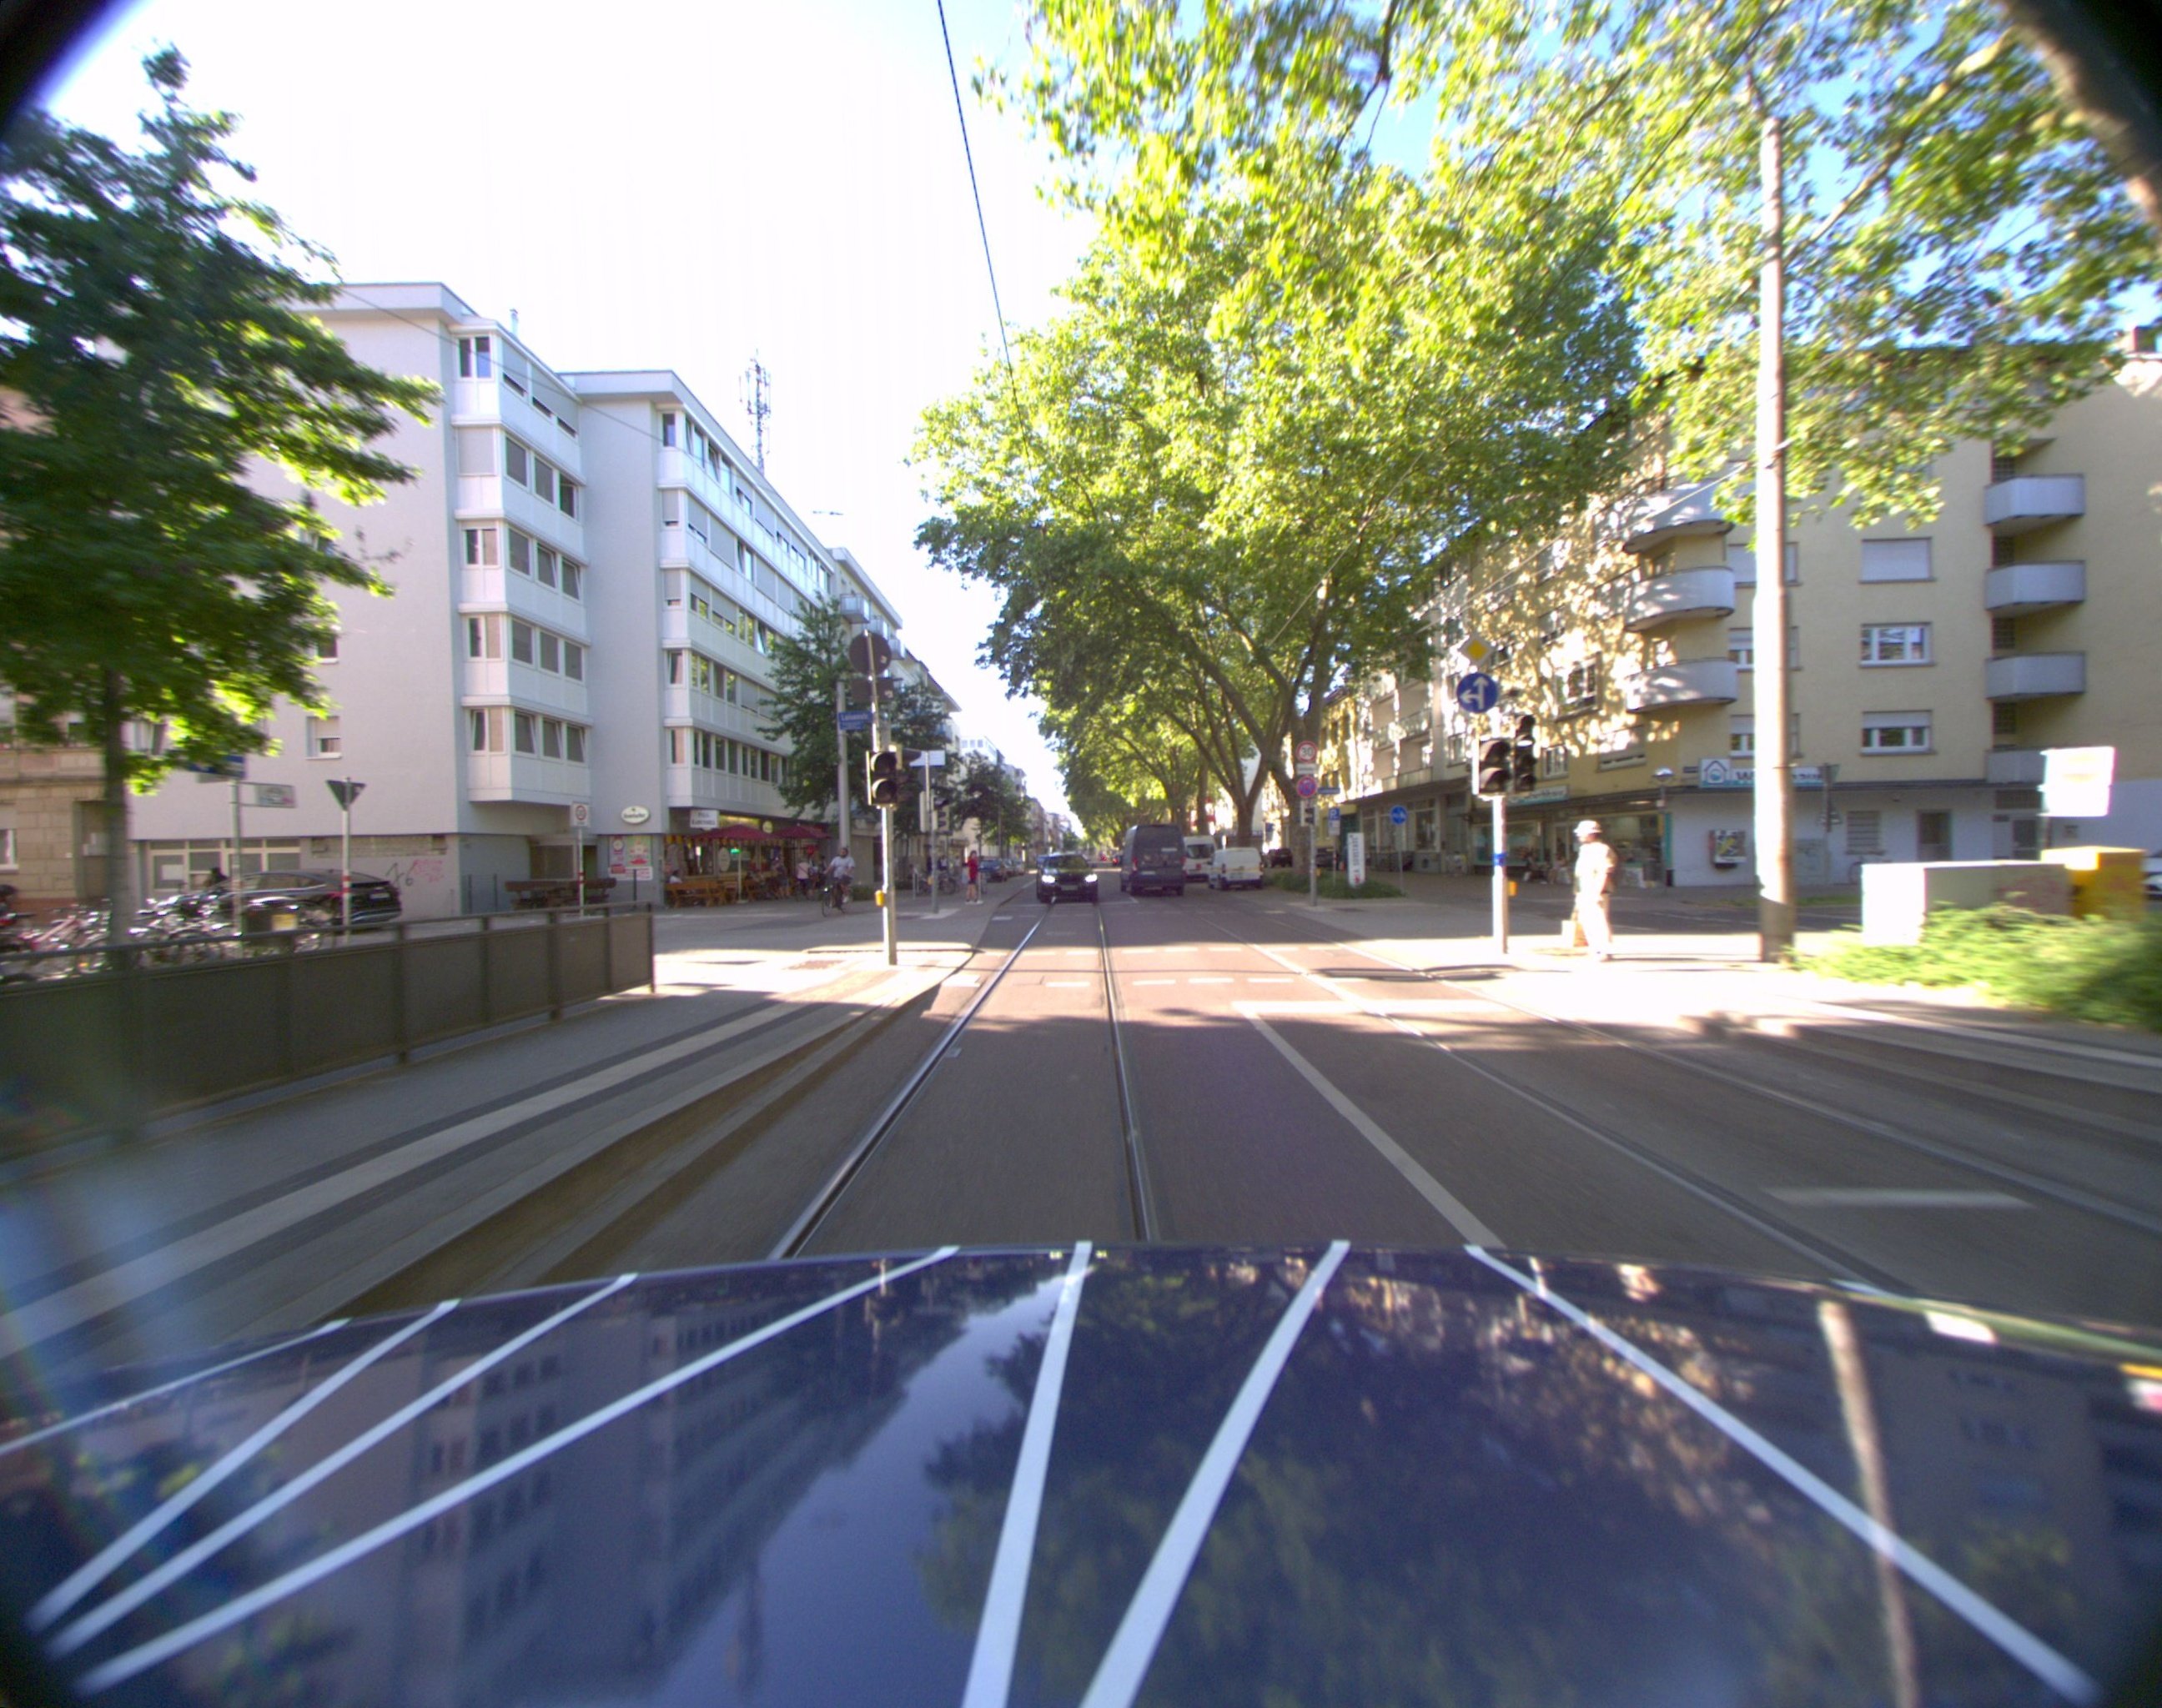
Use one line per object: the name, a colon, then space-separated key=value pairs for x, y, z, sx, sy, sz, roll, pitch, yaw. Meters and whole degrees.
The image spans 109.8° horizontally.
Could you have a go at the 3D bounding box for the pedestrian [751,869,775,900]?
pedestrian: x=-12.517 y=1.183 z=29.899 sx=0.660 sy=1.168 sz=0.522 roll=-2 pitch=1 yaw=-1

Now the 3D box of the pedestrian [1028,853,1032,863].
pedestrian: x=-9.229 y=0.766 z=137.307 sx=0.697 sy=1.685 sz=0.678 roll=-2 pitch=1 yaw=0

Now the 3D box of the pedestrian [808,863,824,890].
pedestrian: x=-12.930 y=1.082 z=37.082 sx=0.510 sy=1.269 sz=0.625 roll=-3 pitch=1 yaw=-36

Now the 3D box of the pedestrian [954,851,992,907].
pedestrian: x=-3.506 y=0.793 z=24.724 sx=1.047 sy=1.748 sz=0.878 roll=-2 pitch=1 yaw=-1

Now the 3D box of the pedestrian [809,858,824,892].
pedestrian: x=-12.883 y=1.024 z=37.017 sx=0.508 sy=1.619 sz=0.517 roll=-3 pitch=2 yaw=-37

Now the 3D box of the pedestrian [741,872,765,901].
pedestrian: x=-12.496 y=1.229 z=28.942 sx=0.643 sy=1.072 sz=0.522 roll=-2 pitch=1 yaw=-1

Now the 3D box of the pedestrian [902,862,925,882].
pedestrian: x=-9.049 y=0.967 z=41.062 sx=1.001 sy=1.021 sz=0.661 roll=-2 pitch=1 yaw=2

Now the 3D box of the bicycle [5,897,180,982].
bicycle: x=-15.607 y=1.332 z=12.026 sx=1.919 sy=1.201 sz=0.511 roll=-2 pitch=1 yaw=-3

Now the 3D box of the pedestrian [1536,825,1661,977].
pedestrian: x=6.589 y=0.565 z=9.728 sx=0.926 sy=1.825 sz=0.920 roll=-2 pitch=1 yaw=-3

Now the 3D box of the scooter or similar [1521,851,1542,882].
scooter or similar: x=17.455 y=0.484 z=29.457 sx=0.642 sy=1.160 sz=0.676 roll=-2 pitch=1 yaw=27

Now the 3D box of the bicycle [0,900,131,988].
bicycle: x=-15.581 y=1.344 z=11.363 sx=1.919 sy=1.201 sz=0.511 roll=-2 pitch=2 yaw=-3

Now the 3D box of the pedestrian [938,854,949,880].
pedestrian: x=-10.209 y=0.949 z=56.248 sx=0.663 sy=1.841 sz=0.539 roll=-2 pitch=1 yaw=0

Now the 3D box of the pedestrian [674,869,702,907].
pedestrian: x=-13.755 y=1.171 z=26.590 sx=0.536 sy=1.280 sz=0.715 roll=-2 pitch=1 yaw=2

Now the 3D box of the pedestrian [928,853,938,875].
pedestrian: x=-11.239 y=0.771 z=57.793 sx=0.597 sy=1.668 sz=0.934 roll=1 pitch=1 yaw=-2

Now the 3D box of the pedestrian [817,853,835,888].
pedestrian: x=-13.143 y=0.841 z=39.127 sx=0.525 sy=1.795 sz=0.633 roll=-1 pitch=2 yaw=44

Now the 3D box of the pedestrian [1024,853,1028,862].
pedestrian: x=-10.208 y=0.647 z=141.834 sx=0.590 sy=1.493 sz=0.600 roll=-2 pitch=1 yaw=1

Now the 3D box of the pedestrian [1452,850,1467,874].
pedestrian: x=18.085 y=0.378 z=36.293 sx=0.421 sy=1.099 sz=0.437 roll=-2 pitch=1 yaw=-9

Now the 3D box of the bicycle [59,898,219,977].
bicycle: x=-15.638 y=1.371 z=12.640 sx=1.919 sy=1.200 sz=0.511 roll=-2 pitch=-1 yaw=-3

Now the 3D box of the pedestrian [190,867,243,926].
pedestrian: x=-23.371 y=1.139 z=20.550 sx=0.552 sy=1.553 sz=0.645 roll=-2 pitch=2 yaw=5

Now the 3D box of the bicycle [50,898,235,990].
bicycle: x=-13.721 y=1.305 z=11.142 sx=1.919 sy=1.201 sz=0.511 roll=-2 pitch=1 yaw=-3

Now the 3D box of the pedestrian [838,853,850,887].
pedestrian: x=-12.554 y=0.855 z=40.241 sx=0.432 sy=1.786 sz=0.489 roll=-2 pitch=1 yaw=0

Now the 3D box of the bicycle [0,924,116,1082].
bicycle: x=-9.548 y=1.242 z=6.444 sx=2.130 sy=1.181 sz=0.681 roll=-2 pitch=1 yaw=9

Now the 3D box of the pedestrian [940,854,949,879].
pedestrian: x=-10.153 y=0.894 z=56.467 sx=0.477 sy=1.841 sz=0.664 roll=-2 pitch=1 yaw=-2

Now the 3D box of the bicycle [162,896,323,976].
bicycle: x=-13.478 y=1.301 z=12.243 sx=1.919 sy=1.200 sz=0.511 roll=-1 pitch=0 yaw=-3

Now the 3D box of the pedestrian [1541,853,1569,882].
pedestrian: x=17.945 y=0.509 z=28.772 sx=0.580 sy=1.041 sz=0.711 roll=-2 pitch=1 yaw=-1

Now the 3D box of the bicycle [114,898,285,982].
bicycle: x=-13.530 y=1.312 z=11.687 sx=1.919 sy=1.200 sz=0.511 roll=-1 pitch=0 yaw=-3

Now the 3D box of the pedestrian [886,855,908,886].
pedestrian: x=-10.549 y=0.939 z=43.547 sx=0.997 sy=1.774 sz=0.591 roll=-3 pitch=2 yaw=-39

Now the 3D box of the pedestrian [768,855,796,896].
pedestrian: x=-12.163 y=0.869 z=30.922 sx=0.813 sy=1.649 sz=0.679 roll=-2 pitch=1 yaw=3

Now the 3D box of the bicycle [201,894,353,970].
bicycle: x=-13.494 y=1.304 z=12.777 sx=1.919 sy=1.200 sz=0.511 roll=-1 pitch=0 yaw=-3

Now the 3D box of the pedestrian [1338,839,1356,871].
pedestrian: x=15.737 y=0.072 z=44.966 sx=0.746 sy=1.859 sz=0.863 roll=-2 pitch=1 yaw=-1

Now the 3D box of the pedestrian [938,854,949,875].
pedestrian: x=-10.455 y=0.792 z=57.825 sx=0.643 sy=1.628 sz=0.869 roll=1 pitch=1 yaw=-1
